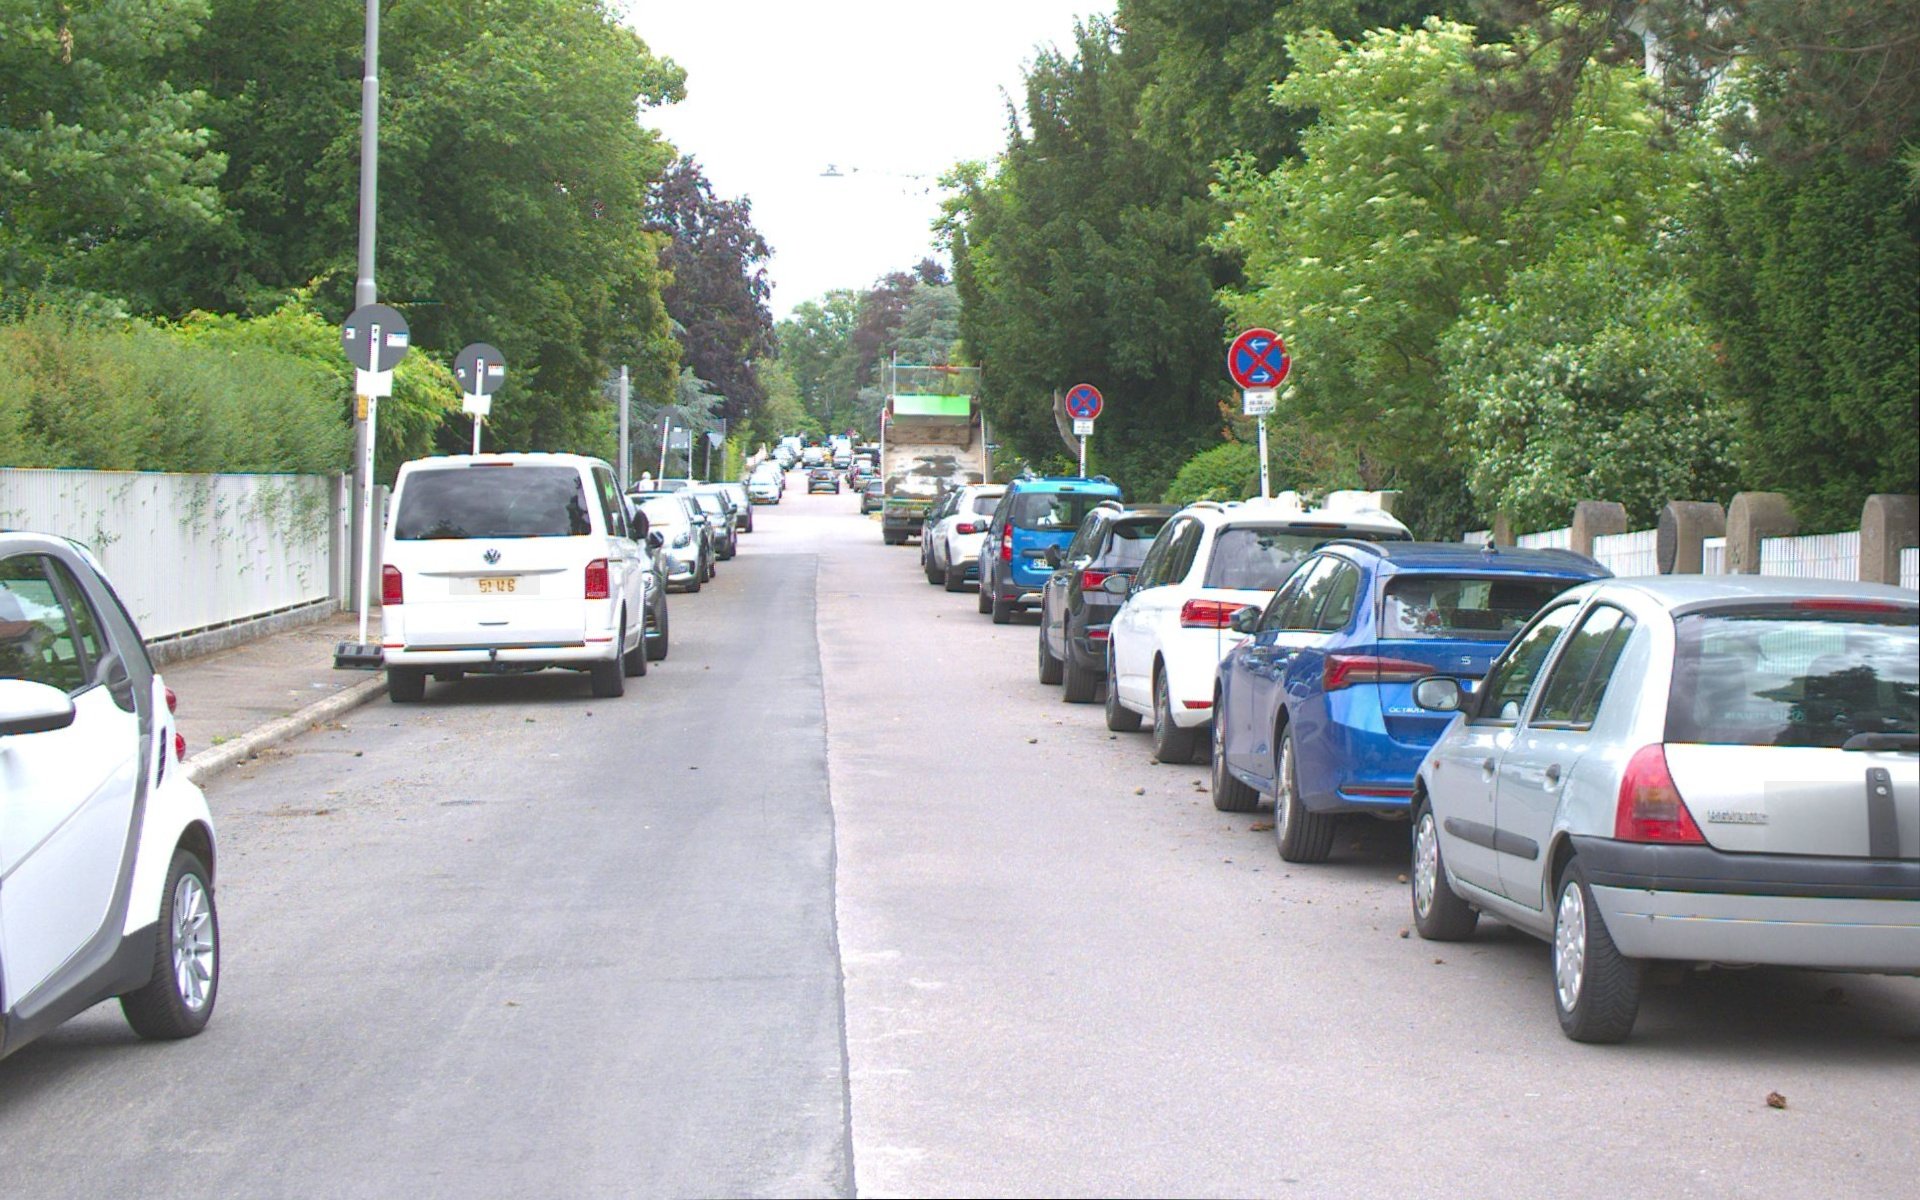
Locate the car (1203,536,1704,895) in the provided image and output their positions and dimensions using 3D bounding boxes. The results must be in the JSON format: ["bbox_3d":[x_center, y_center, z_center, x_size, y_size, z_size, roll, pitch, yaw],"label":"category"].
[{"bbox_3d":[2.235,0.452,16.587,1.647,1.453,4.052,2,1,-2],"label":"car"}]

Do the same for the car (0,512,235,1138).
[{"bbox_3d":[-3.102,0.580,9.296,1.443,1.547,2.769,-2,2,5],"label":"car"}]

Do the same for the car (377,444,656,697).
[{"bbox_3d":[-3.623,-0.293,28.836,1.854,1.906,4.620,-2,2,-2],"label":"car"}]

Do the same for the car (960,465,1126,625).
[{"bbox_3d":[0.993,-0.738,43.129,1.682,1.823,4.158,3,2,-3],"label":"car"}]

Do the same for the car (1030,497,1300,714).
[{"bbox_3d":[1.625,-0.010,28.598,1.750,1.602,4.076,3,1,-3],"label":"car"}]

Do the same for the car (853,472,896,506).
[{"bbox_3d":[-3.840,-4.988,154.392,1.778,1.484,4.001,1,2,-3],"label":"car"}]

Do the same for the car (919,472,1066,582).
[{"bbox_3d":[0.465,-1.181,54.010,1.757,1.600,4.576,2,2,-6],"label":"car"}]

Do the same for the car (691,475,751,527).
[{"bbox_3d":[-6.813,-2.828,97.971,1.636,1.390,3.990,-1,2,-4],"label":"car"}]

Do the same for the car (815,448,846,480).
[{"bbox_3d":[-7.238,-7.586,191.908,1.633,1.695,3.495,1,3,-3],"label":"car"}]

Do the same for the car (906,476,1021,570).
[{"bbox_3d":[0.026,-1.373,60.015,1.698,1.565,4.310,0,2,-4],"label":"car"}]

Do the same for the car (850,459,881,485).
[{"bbox_3d":[-5.701,-7.700,206.747,1.789,1.524,3.735,1,2,-1],"label":"car"}]

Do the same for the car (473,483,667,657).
[{"bbox_3d":[-3.878,-0.359,34.773,1.790,1.617,4.344,-1,2,-5],"label":"car"}]

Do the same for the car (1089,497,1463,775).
[{"bbox_3d":[1.997,0.156,22.974,1.784,1.598,4.305,2,2,-4],"label":"car"}]

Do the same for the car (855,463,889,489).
[{"bbox_3d":[-5.089,-7.150,198.096,1.810,1.331,3.633,2,3,-3],"label":"car"}]

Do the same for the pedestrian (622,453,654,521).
[{"bbox_3d":[-9.735,-3.426,103.820,0.852,2.006,0.701,2,2,-7],"label":"pedestrian"}]

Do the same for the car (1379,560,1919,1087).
[{"bbox_3d":[2.515,0.630,11.639,1.573,1.395,3.656,2,2,-2],"label":"car"}]

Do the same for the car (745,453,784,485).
[{"bbox_3d":[-9.879,-6.644,174.027,1.711,1.580,4.000,1,2,0],"label":"car"}]

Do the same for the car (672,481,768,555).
[{"bbox_3d":[-4.932,-1.722,71.100,1.640,1.417,4.550,-2,2,0],"label":"car"}]

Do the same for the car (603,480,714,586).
[{"bbox_3d":[-4.680,-1.060,53.157,1.621,1.528,2.963,-2,2,-6],"label":"car"}]

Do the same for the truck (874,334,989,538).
[{"bbox_3d":[-0.758,-3.989,84.668,2.524,4.732,7.188,2,2,-2],"label":"truck"}]
